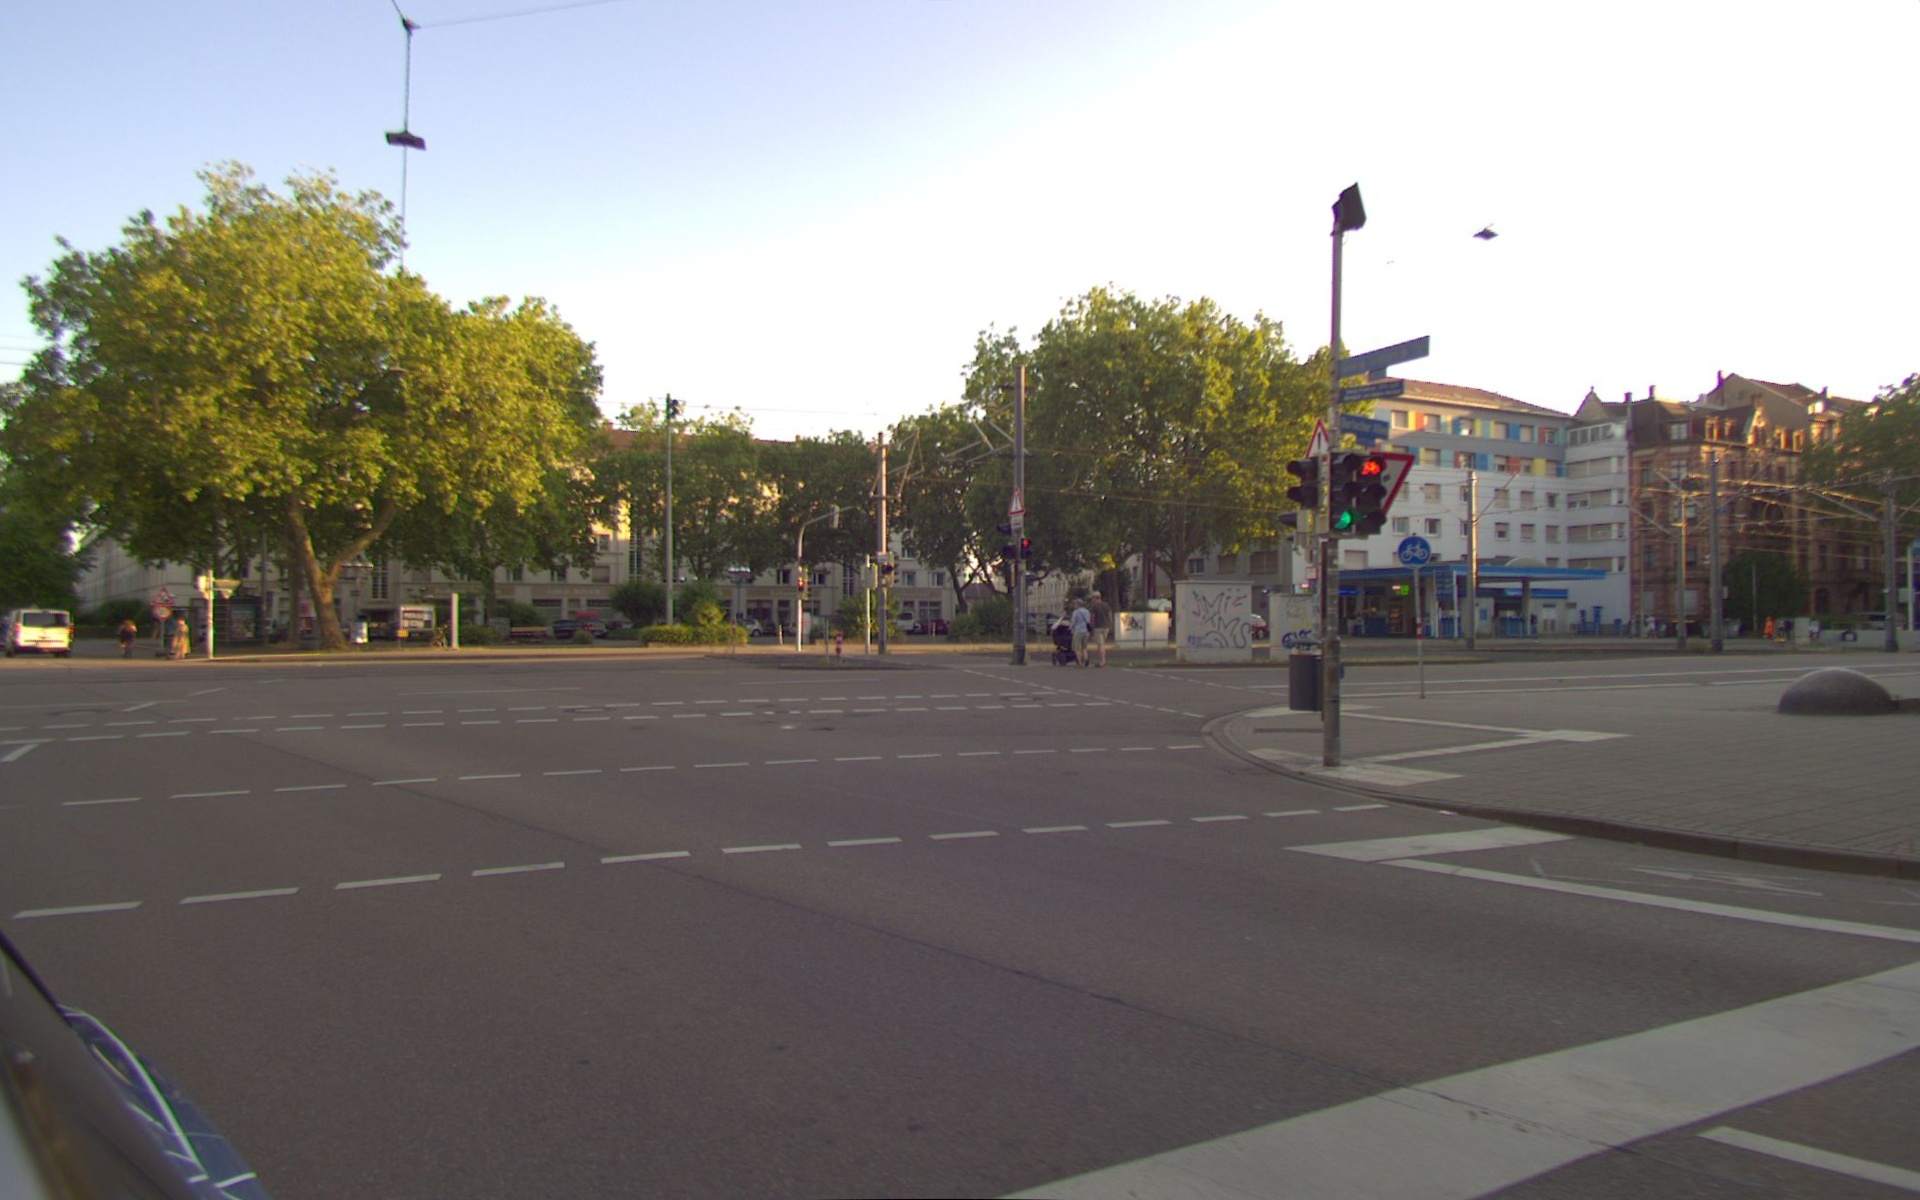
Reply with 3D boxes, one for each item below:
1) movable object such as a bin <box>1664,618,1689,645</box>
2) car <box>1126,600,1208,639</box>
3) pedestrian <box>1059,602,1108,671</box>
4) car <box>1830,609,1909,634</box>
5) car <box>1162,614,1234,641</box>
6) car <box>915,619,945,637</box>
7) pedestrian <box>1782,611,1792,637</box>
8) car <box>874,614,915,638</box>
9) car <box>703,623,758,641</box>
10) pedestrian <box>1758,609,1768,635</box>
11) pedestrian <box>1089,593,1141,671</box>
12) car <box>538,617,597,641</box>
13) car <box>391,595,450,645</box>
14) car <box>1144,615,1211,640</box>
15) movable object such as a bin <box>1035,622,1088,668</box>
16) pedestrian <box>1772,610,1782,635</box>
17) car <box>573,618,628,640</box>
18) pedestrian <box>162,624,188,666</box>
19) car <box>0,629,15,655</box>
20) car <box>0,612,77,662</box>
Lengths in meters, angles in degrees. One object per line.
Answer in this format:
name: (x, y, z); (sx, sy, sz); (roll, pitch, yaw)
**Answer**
movable object such as a bin: (55.496, 2.448, 78.372); (1.491, 2.029, 1.342); (-2, -2, 37)
car: (14.697, 1.375, 71.819); (5.482, 2.638, 2.006); (0, -2, -25)
pedestrian: (2.999, 0.875, 24.626); (0.708, 1.646, 1.010); (0, -2, -28)
car: (76.185, 1.793, 84.860); (1.965, 2.029, 4.508); (0, -2, -26)
car: (14.847, 1.731, 63.171); (3.930, 1.625, 2.006); (0, -1, -21)
car: (-2.786, 2.577, 93.118); (1.733, 1.583, 3.598); (0, -1, -21)
pedestrian: (59.976, 1.745, 73.422); (0.545, 1.840, 0.453); (1, -2, -41)
car: (-5.262, 2.070, 80.709); (1.965, 1.851, 4.331); (0, -1, -22)
car: (-18.182, 2.523, 80.115); (3.931, 1.429, 1.815); (0, -1, -29)
pedestrian: (58.729, 1.605, 74.025); (0.545, 1.840, 0.453); (1, -2, -41)
pedestrian: (3.795, 0.786, 24.851); (0.699, 1.861, 1.163); (0, -2, -28)
car: (-29.517, 2.163, 76.234); (3.932, 1.719, 2.006); (0, -1, -15)
car: (-23.085, 0.875, 43.270); (1.837, 2.029, 3.820); (1, -2, -34)
car: (14.142, 1.775, 65.810); (3.930, 1.586, 1.789); (0, -1, -21)
movable object such as a bin: (2.581, 1.130, 25.787); (0.847, 1.128, 1.141); (0, -2, -28)
pedestrian: (59.624, 1.621, 73.856); (0.545, 1.840, 0.453); (1, -2, -41)
car: (-28.448, 2.273, 80.177); (3.932, 1.719, 2.006); (0, -1, -15)
pedestrian: (-31.158, 1.767, 40.163); (0.734, 1.641, 0.662); (0, -1, -32)
car: (-57.495, 2.481, 60.051); (1.970, 1.470, 4.003); (1, -2, -44)
car: (-38.671, 1.526, 42.428); (4.595, 1.971, 1.965); (-2, -2, 43)
